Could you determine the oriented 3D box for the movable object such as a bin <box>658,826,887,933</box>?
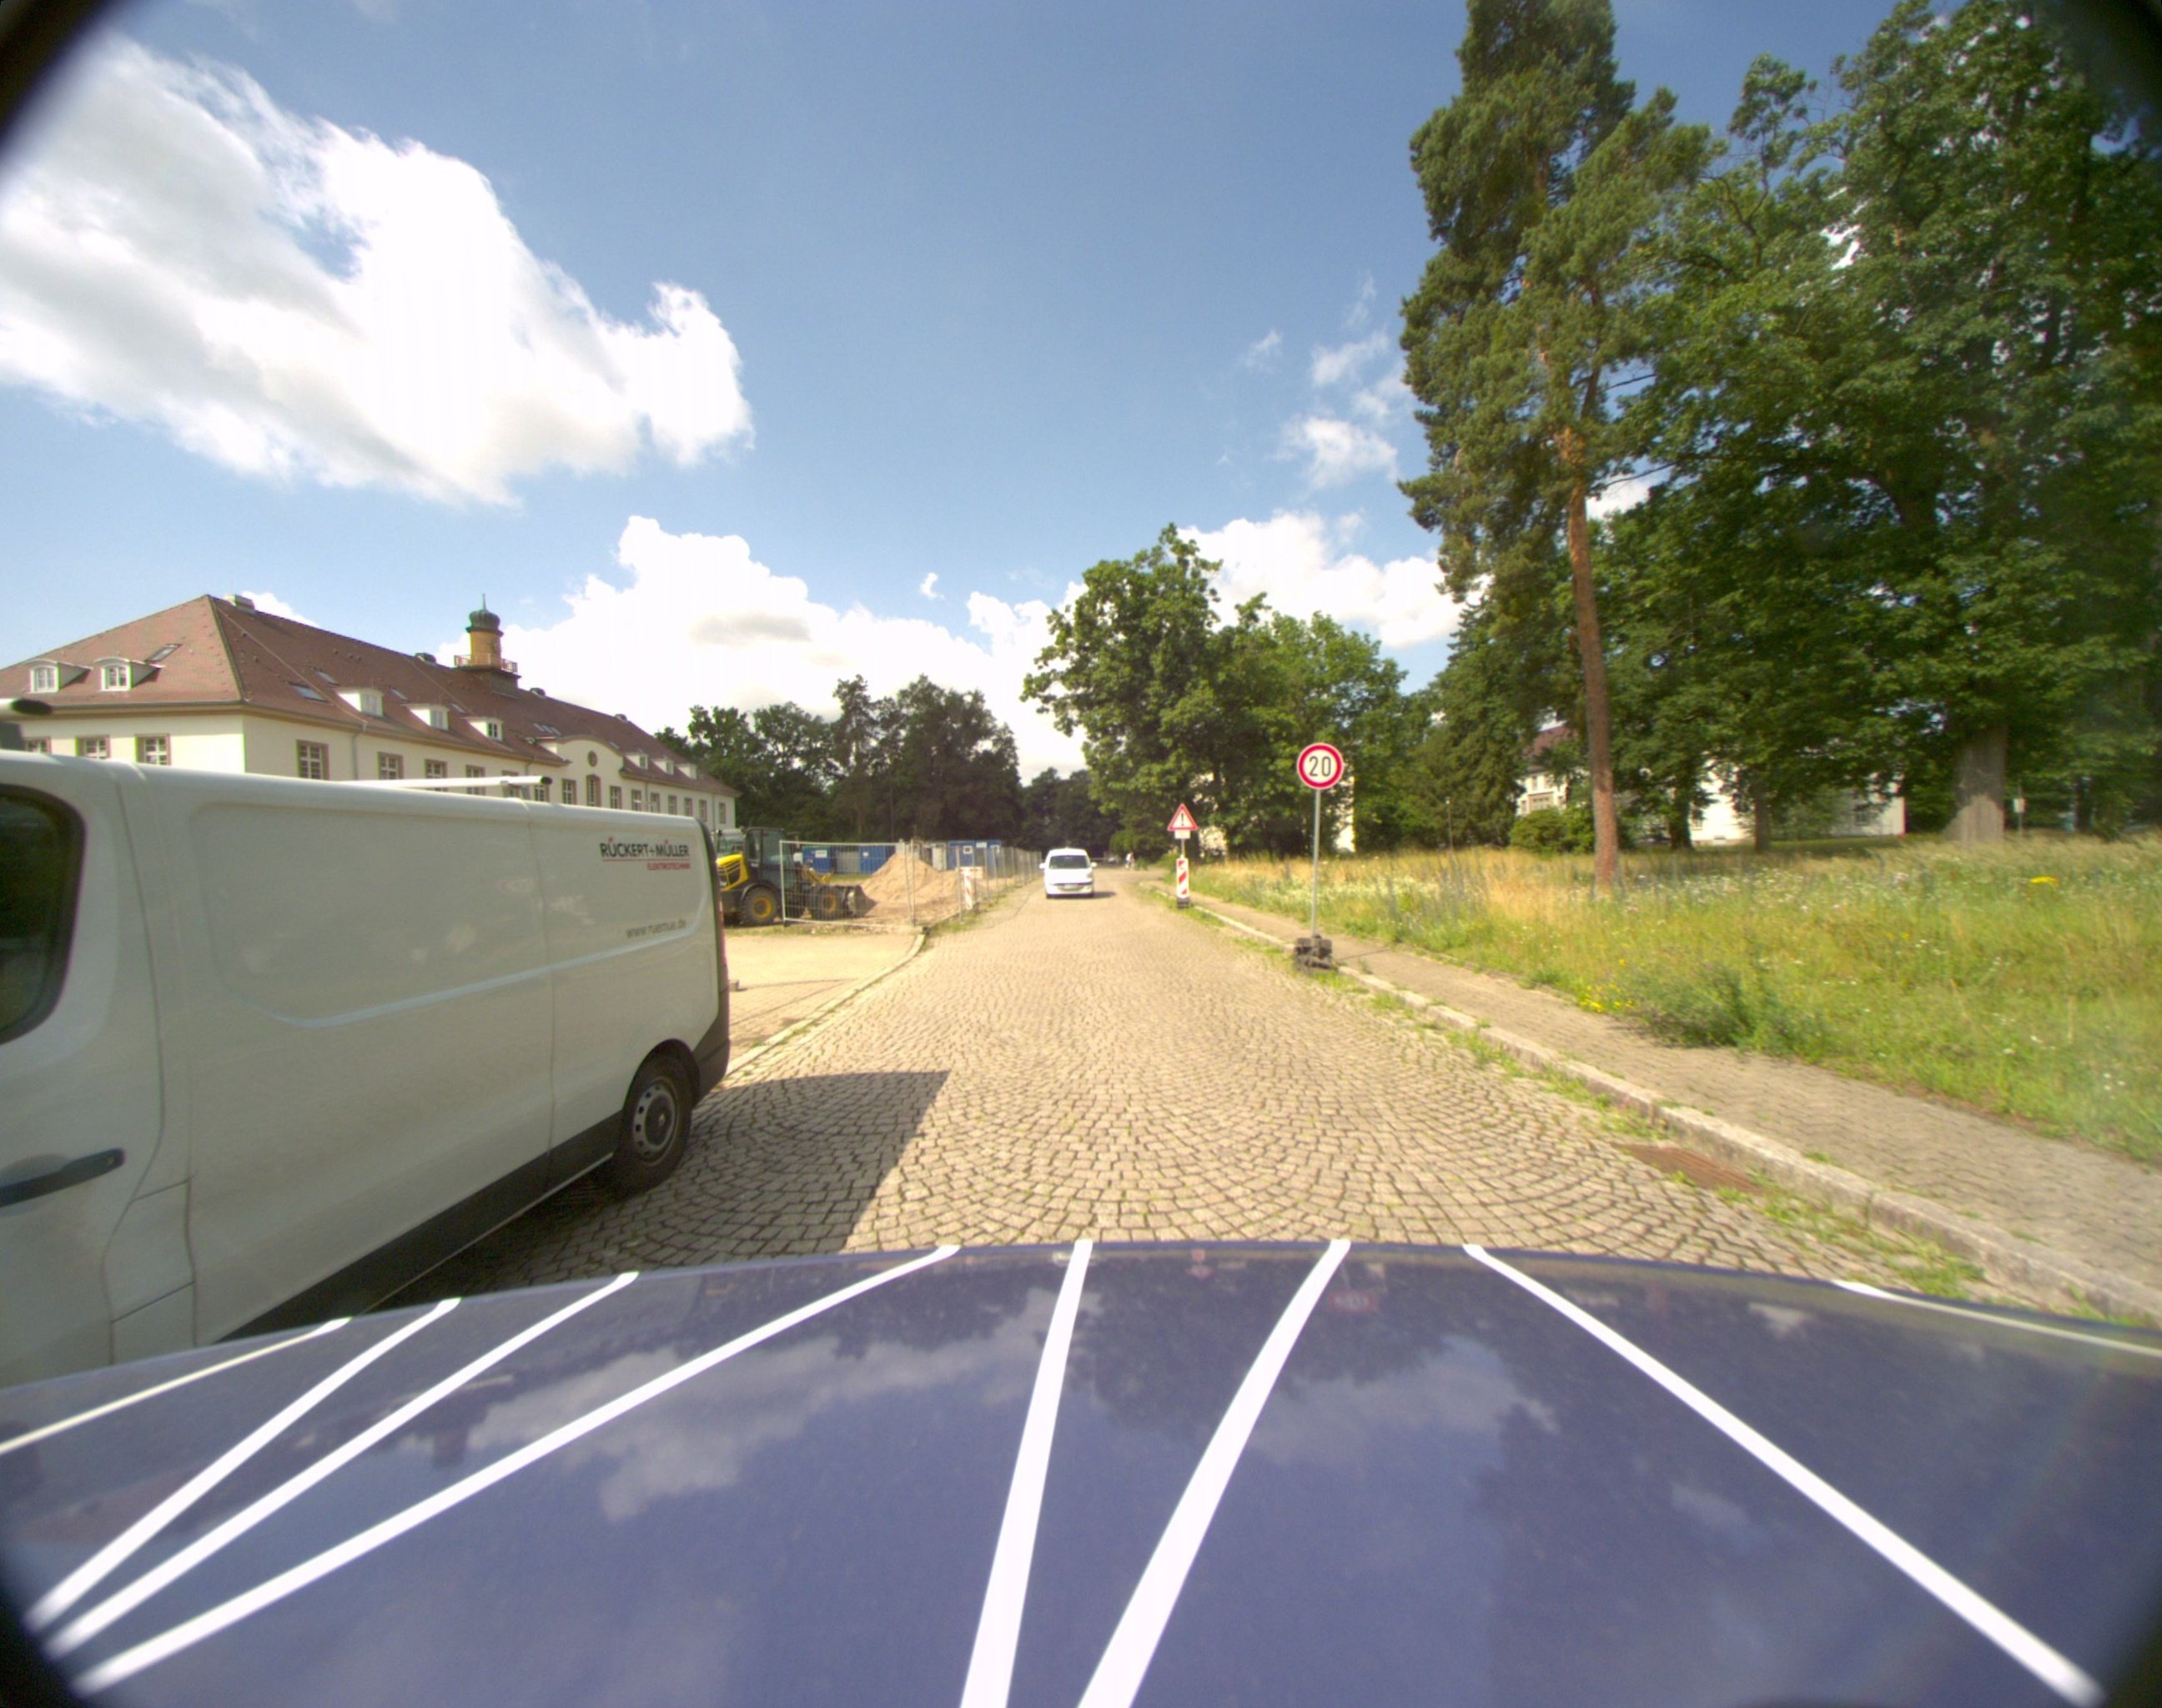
[{"bbox_3d":[-8.094,0.609,20.695,2.144,2.507,5.667,-1,0,28],"label":"movable object such as a bin"}]

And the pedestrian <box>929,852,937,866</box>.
[{"bbox_3d":[-13.939,0.479,71.405,0.602,1.235,0.682,-2,1,-2],"label":"pedestrian"}]

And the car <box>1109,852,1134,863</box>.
[{"bbox_3d":[6.884,0.603,130.415,4.084,1.634,1.767,-2,1,-1],"label":"car"}]

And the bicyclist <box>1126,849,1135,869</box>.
[{"bbox_3d":[4.570,0.464,70.160,0.569,1.760,0.636,-2,1,40],"label":"bicyclist"}]

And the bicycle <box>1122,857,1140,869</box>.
[{"bbox_3d":[4.586,0.826,70.159,1.553,0.990,0.636,-2,1,40],"label":"bicycle"}]

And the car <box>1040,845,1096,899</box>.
[{"bbox_3d":[-0.589,0.676,29.098,1.840,1.857,4.829,-2,-1,-4],"label":"car"}]

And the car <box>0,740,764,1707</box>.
[{"bbox_3d":[-3.086,0.813,2.109,1.919,2.041,5.678,-2,0,1],"label":"car"}]
